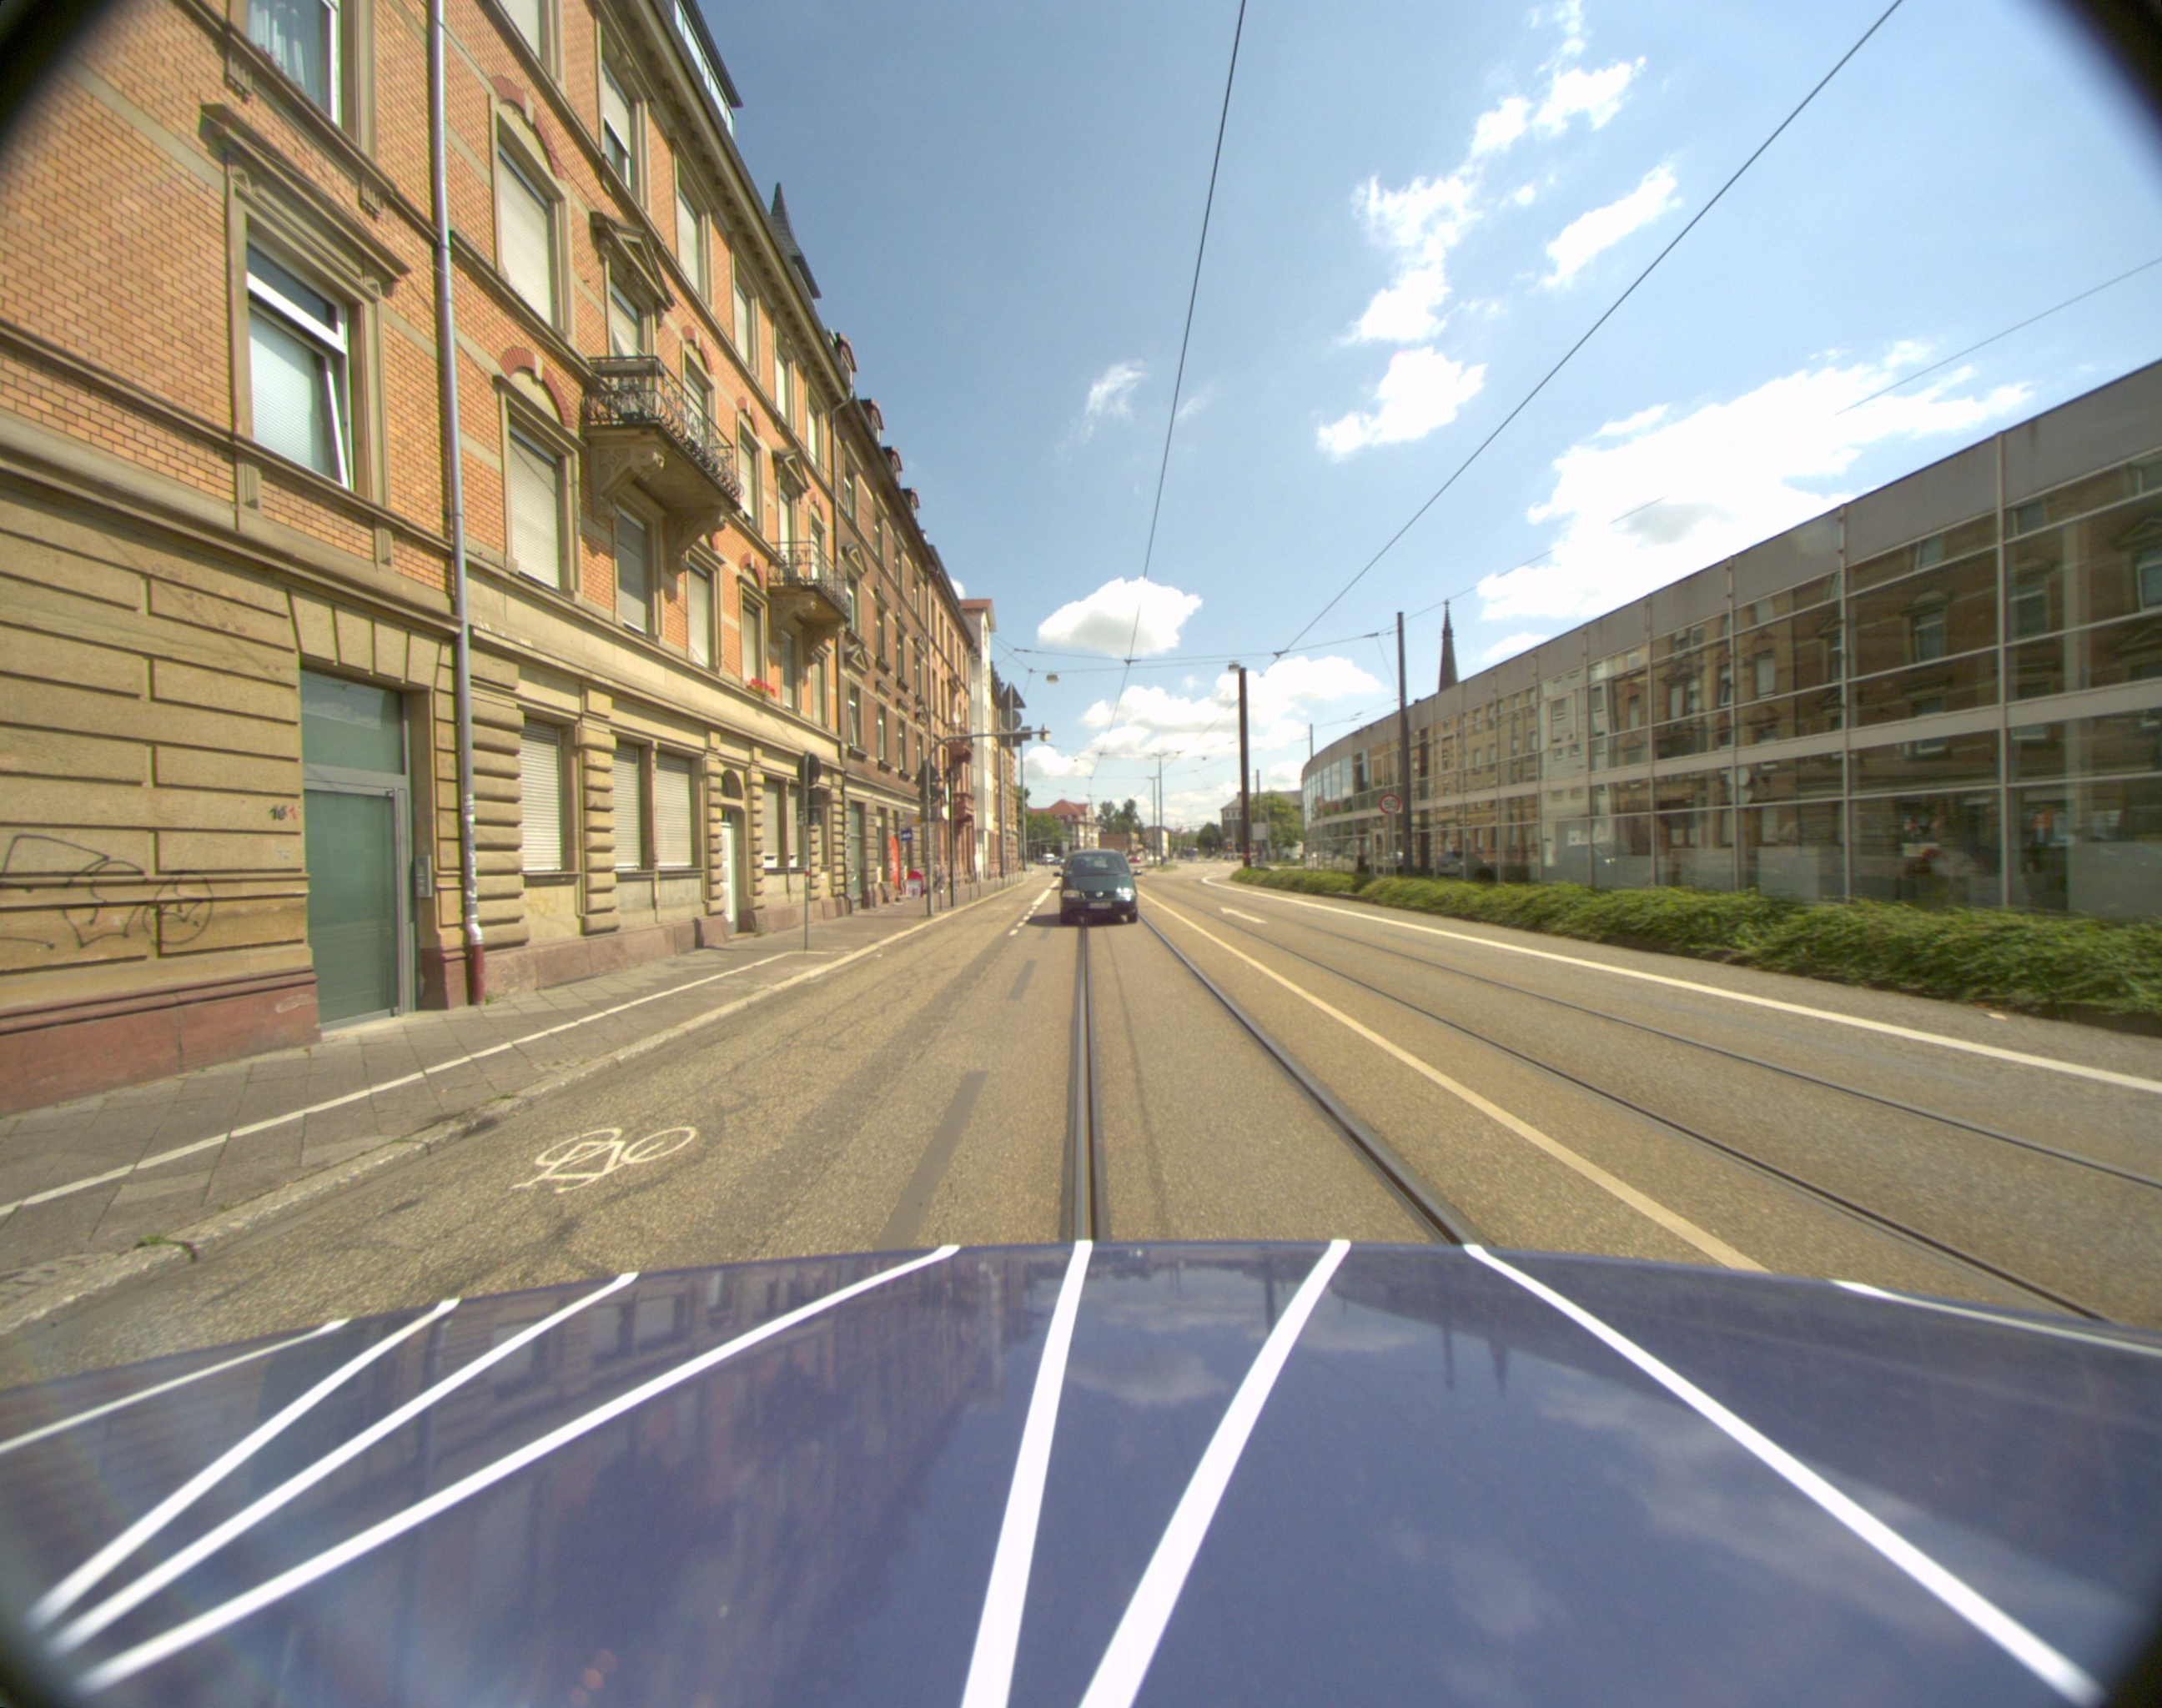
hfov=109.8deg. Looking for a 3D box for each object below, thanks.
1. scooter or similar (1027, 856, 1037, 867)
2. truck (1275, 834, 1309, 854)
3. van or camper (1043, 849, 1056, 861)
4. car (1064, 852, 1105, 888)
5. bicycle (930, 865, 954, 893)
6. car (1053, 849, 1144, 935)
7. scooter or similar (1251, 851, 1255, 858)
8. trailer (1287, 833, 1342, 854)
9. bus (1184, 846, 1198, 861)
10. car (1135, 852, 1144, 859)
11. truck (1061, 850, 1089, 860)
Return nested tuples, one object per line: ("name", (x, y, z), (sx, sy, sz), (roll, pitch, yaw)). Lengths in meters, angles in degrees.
("scooter or similar", (-5.715, 0.883, 88.248), (0.949, 1.173, 1.086), (-1, 1, 7))
("truck", (44.521, -2.156, 160.191), (6.889, 4.095, 2.957), (-2, 0, -30))
("van or camper", (-7.665, 0.274, 182.684), (2.234, 2.719, 5.516), (-2, 0, -12))
("car", (0.144, 0.773, 38.549), (1.873, 1.607, 4.426), (-3, 0, -1))
("bicycle", (-6.220, 1.109, 34.005), (0.588, 1.171, 2.205), (-1, 0, 1))
("car", (0.374, 0.787, 17.780), (1.819, 1.707, 4.085), (-3, 0, 0))
("scooter or similar", (28.641, 0.085, 126.505), (0.462, 1.193, 0.549), (-1, 0, -1))
("trailer", (50.461, -2.341, 163.671), (13.439, 4.052, 2.942), (-2, 0, -30))
("bus", (27.861, -0.129, 192.769), (2.947, 3.427, 7.954), (-1, 0, 12))
("car", (12.705, 0.306, 164.967), (1.706, 1.420, 3.901), (0, 0, 0))
("truck", (-1.990, 0.266, 244.461), (8.749, 2.981, 3.347), (-2, 2, -37))
